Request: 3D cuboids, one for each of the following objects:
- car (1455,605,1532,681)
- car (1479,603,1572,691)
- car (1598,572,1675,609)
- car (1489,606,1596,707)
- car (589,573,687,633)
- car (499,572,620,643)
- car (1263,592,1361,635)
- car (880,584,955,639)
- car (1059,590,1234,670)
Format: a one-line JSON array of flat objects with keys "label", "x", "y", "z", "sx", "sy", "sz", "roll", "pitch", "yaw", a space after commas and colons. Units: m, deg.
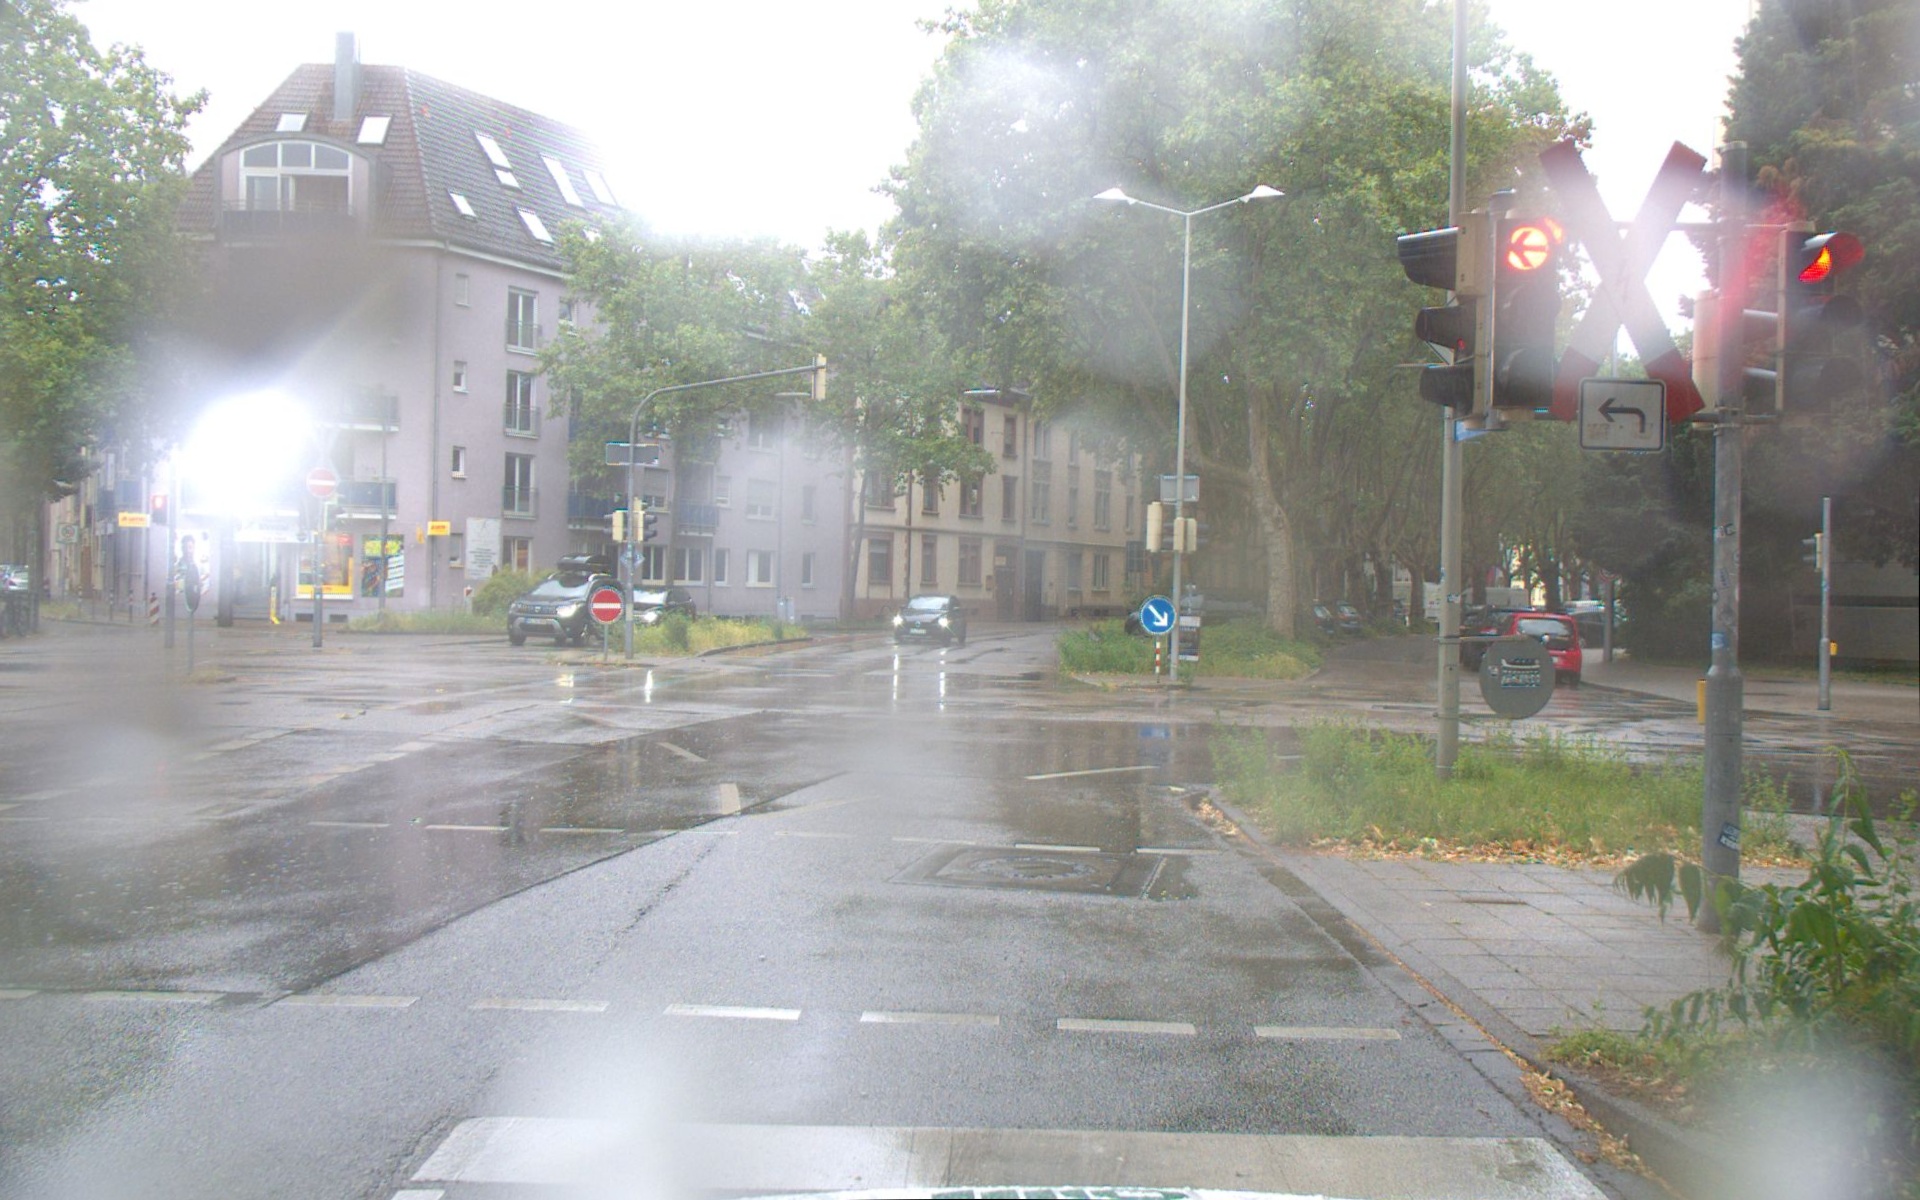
[{"label": "car", "x": 15.474, "y": 1.198, "z": 48.143, "sx": 1.951, "sy": 2.049, "sz": 4.003, "roll": 0, "pitch": 1, "yaw": 15}, {"label": "car", "x": 14.163, "y": 1.130, "z": 41.631, "sx": 1.951, "sy": 2.049, "sz": 4.003, "roll": 0, "pitch": 1, "yaw": 15}, {"label": "car", "x": 37.977, "y": -0.548, "z": 92.906, "sx": 3.903, "sy": 2.049, "sz": 1.708, "roll": 0, "pitch": 0, "yaw": 19}, {"label": "car", "x": 12.955, "y": 1.195, "z": 36.968, "sx": 1.951, "sy": 2.049, "sz": 4.003, "roll": 0, "pitch": 1, "yaw": 15}, {"label": "car", "x": -8.741, "y": 0.061, "z": 45.199, "sx": 1.688, "sy": 1.579, "sz": 3.562, "roll": 0, "pitch": 1, "yaw": 5}, {"label": "car", "x": -9.361, "y": 0.140, "z": 38.919, "sx": 1.688, "sy": 1.579, "sz": 3.562, "roll": 0, "pitch": 1, "yaw": 5}, {"label": "car", "x": 14.033, "y": 0.526, "z": 65.972, "sx": 3.537, "sy": 1.646, "sz": 1.679, "roll": 0, "pitch": 1, "yaw": 28}, {"label": "car", "x": -1.262, "y": 0.320, "z": 50.456, "sx": 1.568, "sy": 1.579, "sz": 3.563, "roll": 0, "pitch": 1, "yaw": 10}, {"label": "car", "x": 3.766, "y": 0.589, "z": 33.302, "sx": 3.405, "sy": 1.550, "sz": 1.521, "roll": 0, "pitch": 0, "yaw": 8}]
